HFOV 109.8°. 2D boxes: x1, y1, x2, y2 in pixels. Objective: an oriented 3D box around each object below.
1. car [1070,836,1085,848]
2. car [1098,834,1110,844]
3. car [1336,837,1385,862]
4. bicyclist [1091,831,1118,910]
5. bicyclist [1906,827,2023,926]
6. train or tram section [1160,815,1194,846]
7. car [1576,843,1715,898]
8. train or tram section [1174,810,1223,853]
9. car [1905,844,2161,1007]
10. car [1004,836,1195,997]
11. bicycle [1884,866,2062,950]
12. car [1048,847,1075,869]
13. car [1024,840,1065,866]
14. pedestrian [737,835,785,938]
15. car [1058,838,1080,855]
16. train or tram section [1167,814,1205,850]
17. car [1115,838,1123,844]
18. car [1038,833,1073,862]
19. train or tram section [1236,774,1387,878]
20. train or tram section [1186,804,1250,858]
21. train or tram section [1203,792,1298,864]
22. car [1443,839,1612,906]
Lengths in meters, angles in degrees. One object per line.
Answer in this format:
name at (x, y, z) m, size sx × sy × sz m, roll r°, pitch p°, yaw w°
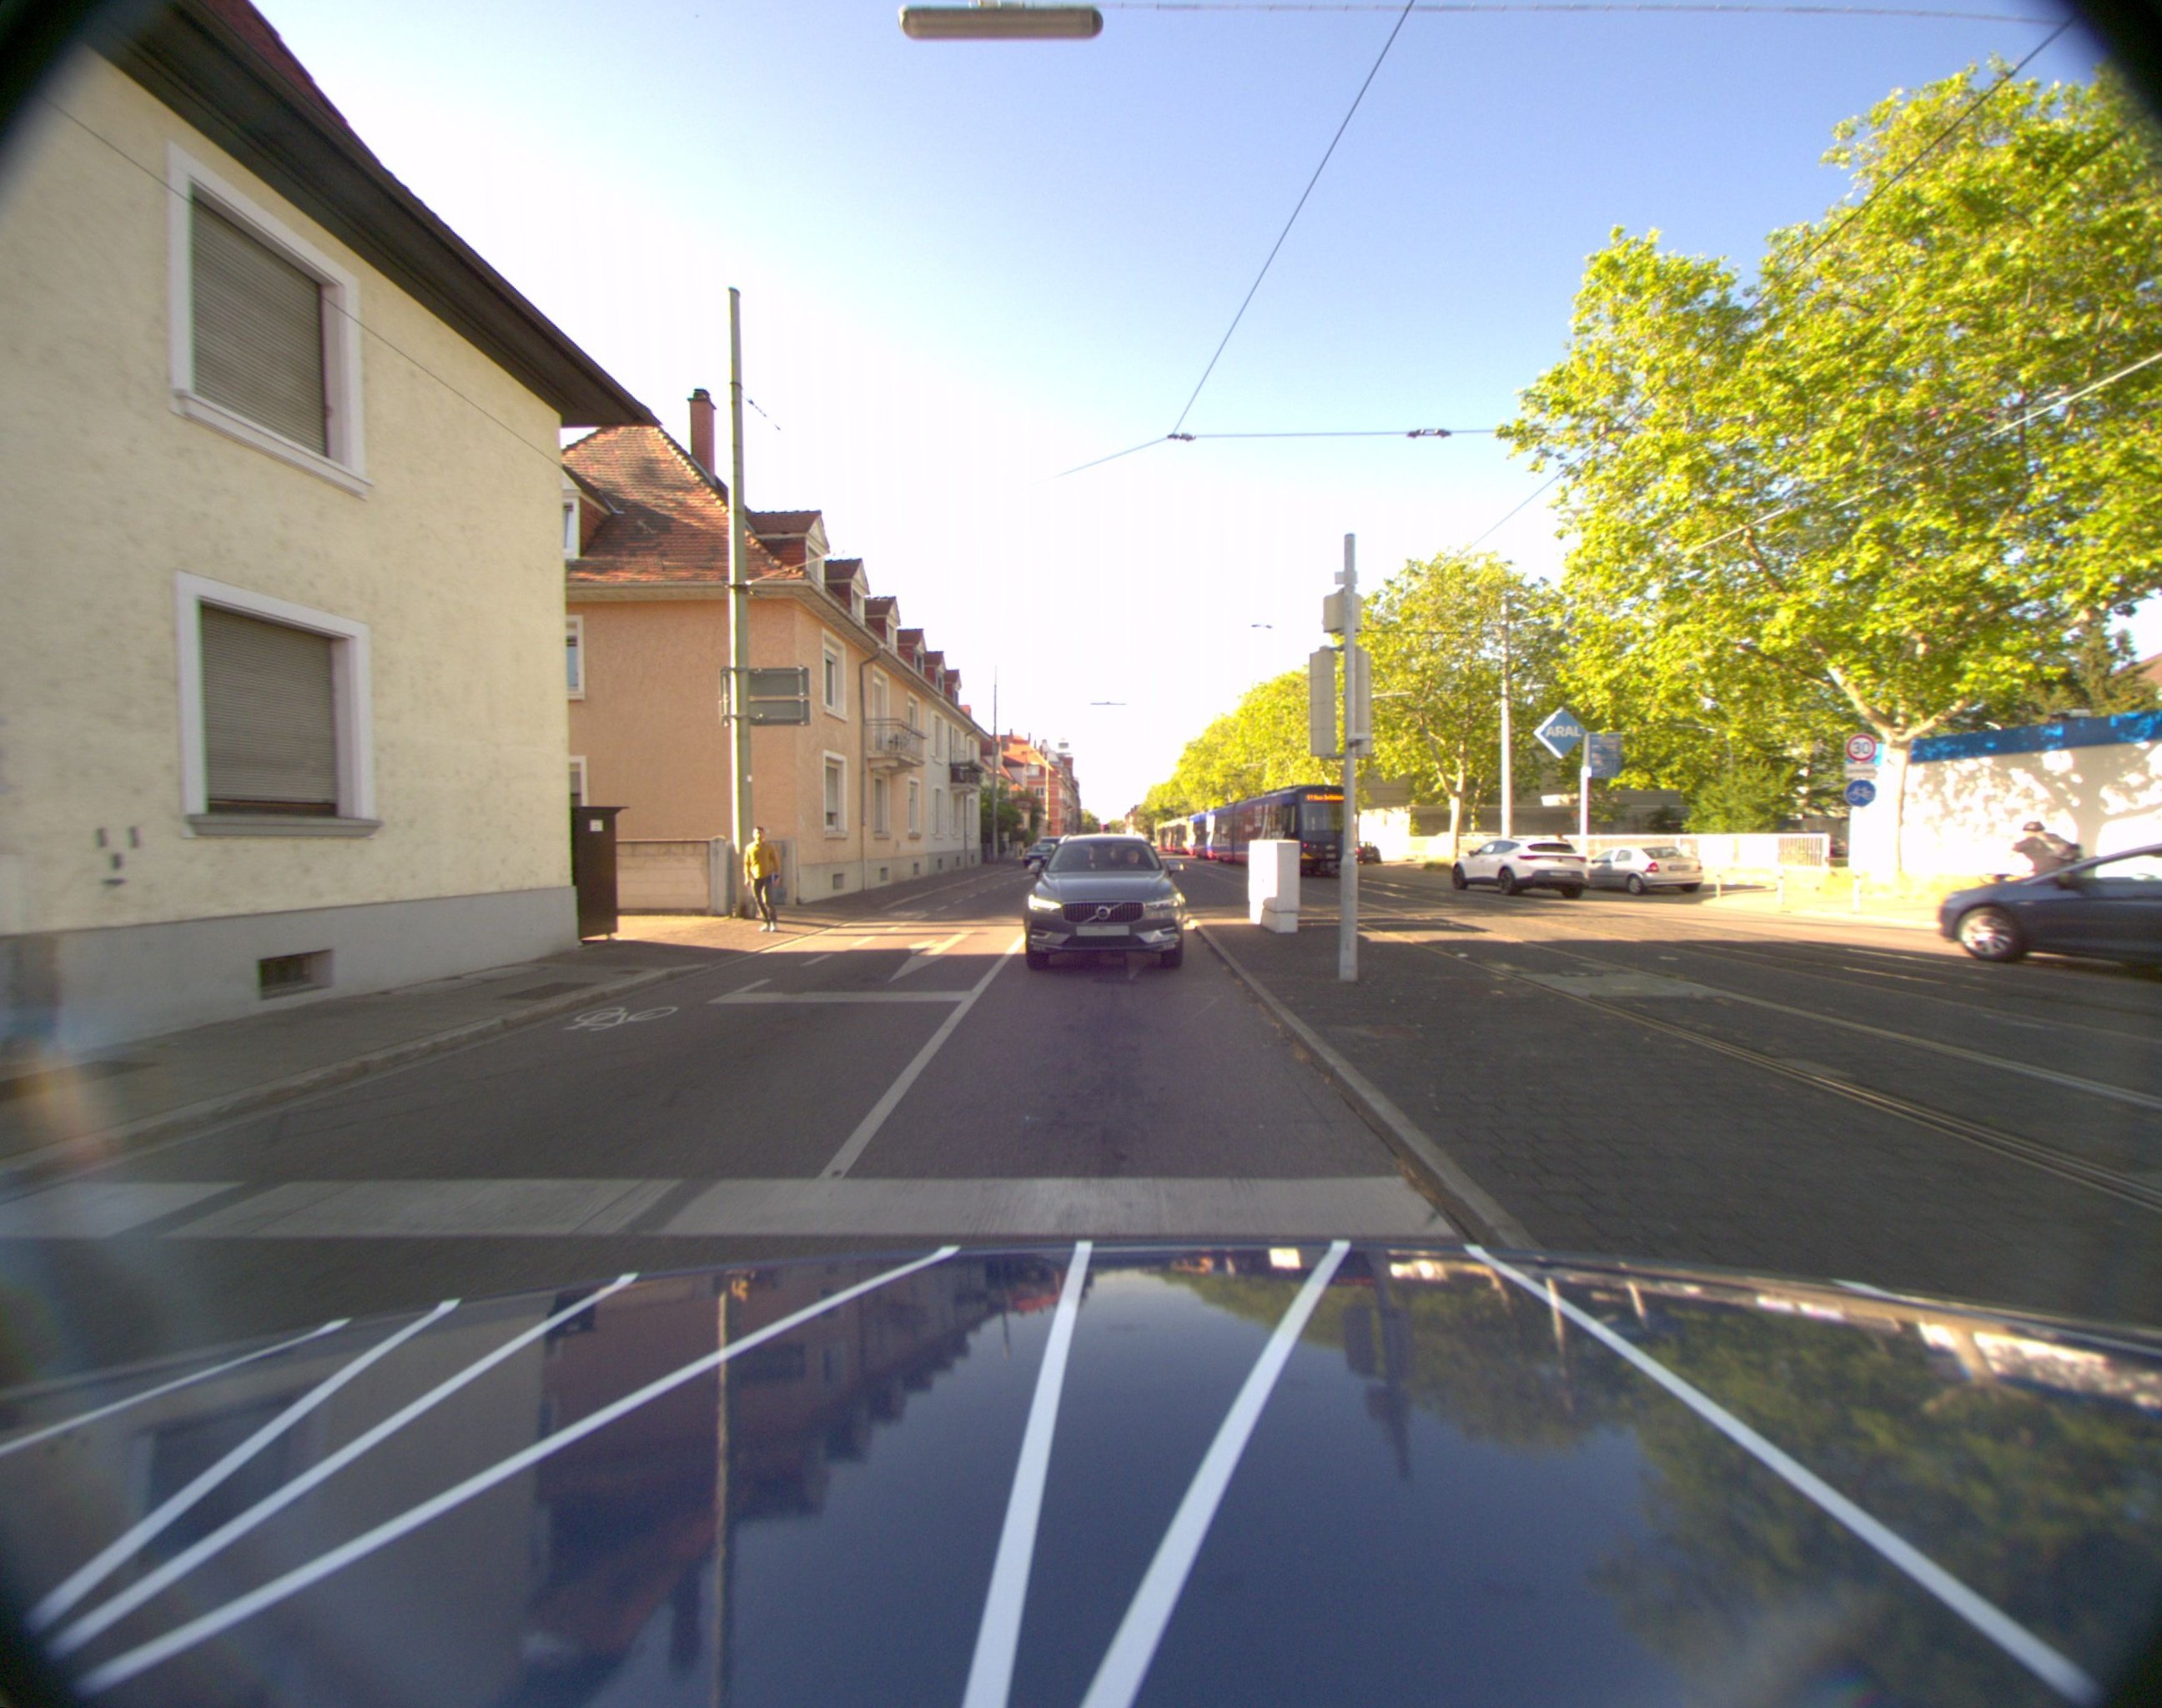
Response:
car at (-0.419, -1.479, 93.271) m, size 1.882 × 1.478 × 3.999 m, roll 0°, pitch 2°, yaw 0°
car at (3.760, -2.425, 122.670) m, size 1.882 × 1.478 × 3.999 m, roll 0°, pitch 2°, yaw 0°
car at (18.007, -0.321, 49.077) m, size 1.881 × 1.478 × 4.000 m, roll 0°, pitch 2°, yaw 4°
bicyclist at (0.517, 0.343, 16.705) m, size 0.600 × 1.709 × 0.662 m, roll 0°, pitch 2°, yaw 2°
bicyclist at (14.355, 0.346, 12.379) m, size 0.716 × 1.551 × 0.986 m, roll 0°, pitch 2°, yaw 2°
train or tram section at (11.637, -2.823, 93.310) m, size 3.062 × 3.592 × 12.887 m, roll 0°, pitch 2°, yaw 2°
car at (16.869, 0.436, 22.918) m, size 1.778 × 1.417 × 3.539 m, roll -3°, pitch 1°, yaw 6°
train or tram section at (10.473, -2.021, 69.048) m, size 3.062 × 3.593 × 12.113 m, roll 0°, pitch 2°, yaw 3°
car at (10.944, 0.679, 7.046) m, size 1.778 × 1.488 × 4.573 m, roll 0°, pitch 2°, yaw 3°
car at (0.259, 0.576, 9.914) m, size 1.917 × 1.622 × 4.502 m, roll 0°, pitch 2°, yaw 2°
bicycle at (14.330, 0.815, 12.311) m, size 0.486 × 1.159 × 2.056 m, roll 0°, pitch 2°, yaw 2°
car at (-1.454, 0.261, 56.731) m, size 1.882 × 1.478 × 3.999 m, roll 0°, pitch 2°, yaw 0°
car at (-2.157, -0.109, 45.644) m, size 1.881 × 1.478 × 4.001 m, roll 0°, pitch 2°, yaw 6°
pedestrian at (-5.526, 0.546, 13.146) m, size 0.602 × 1.751 × 0.486 m, roll 0°, pitch 2°, yaw 0°
car at (-1.062, -0.734, 69.183) m, size 1.882 × 1.478 × 3.999 m, roll 0°, pitch 2°, yaw 0°
train or tram section at (11.054, -2.332, 81.031) m, size 3.062 × 3.593 × 11.949 m, roll 0°, pitch 2°, yaw 4°
car at (9.453, -3.316, 188.727) m, size 1.882 × 1.478 × 3.999 m, roll 0°, pitch 2°, yaw 0°
car at (-1.686, -0.470, 51.432) m, size 1.932 × 1.835 × 5.312 m, roll 0°, pitch 2°, yaw 3°
train or tram section at (9.217, -1.124, 32.417) m, size 3.062 × 3.593 × 12.112 m, roll 0°, pitch 2°, yaw 2°
train or tram section at (10.001, -1.695, 56.964) m, size 3.062 × 3.593 × 12.113 m, roll 0°, pitch 2°, yaw 2°
train or tram section at (9.580, -1.474, 44.674) m, size 3.062 × 3.592 × 12.500 m, roll 0°, pitch 2°, yaw 1°
car at (11.683, 0.393, 20.295) m, size 1.998 × 1.488 × 4.347 m, roll 3°, pitch 2°, yaw 2°
